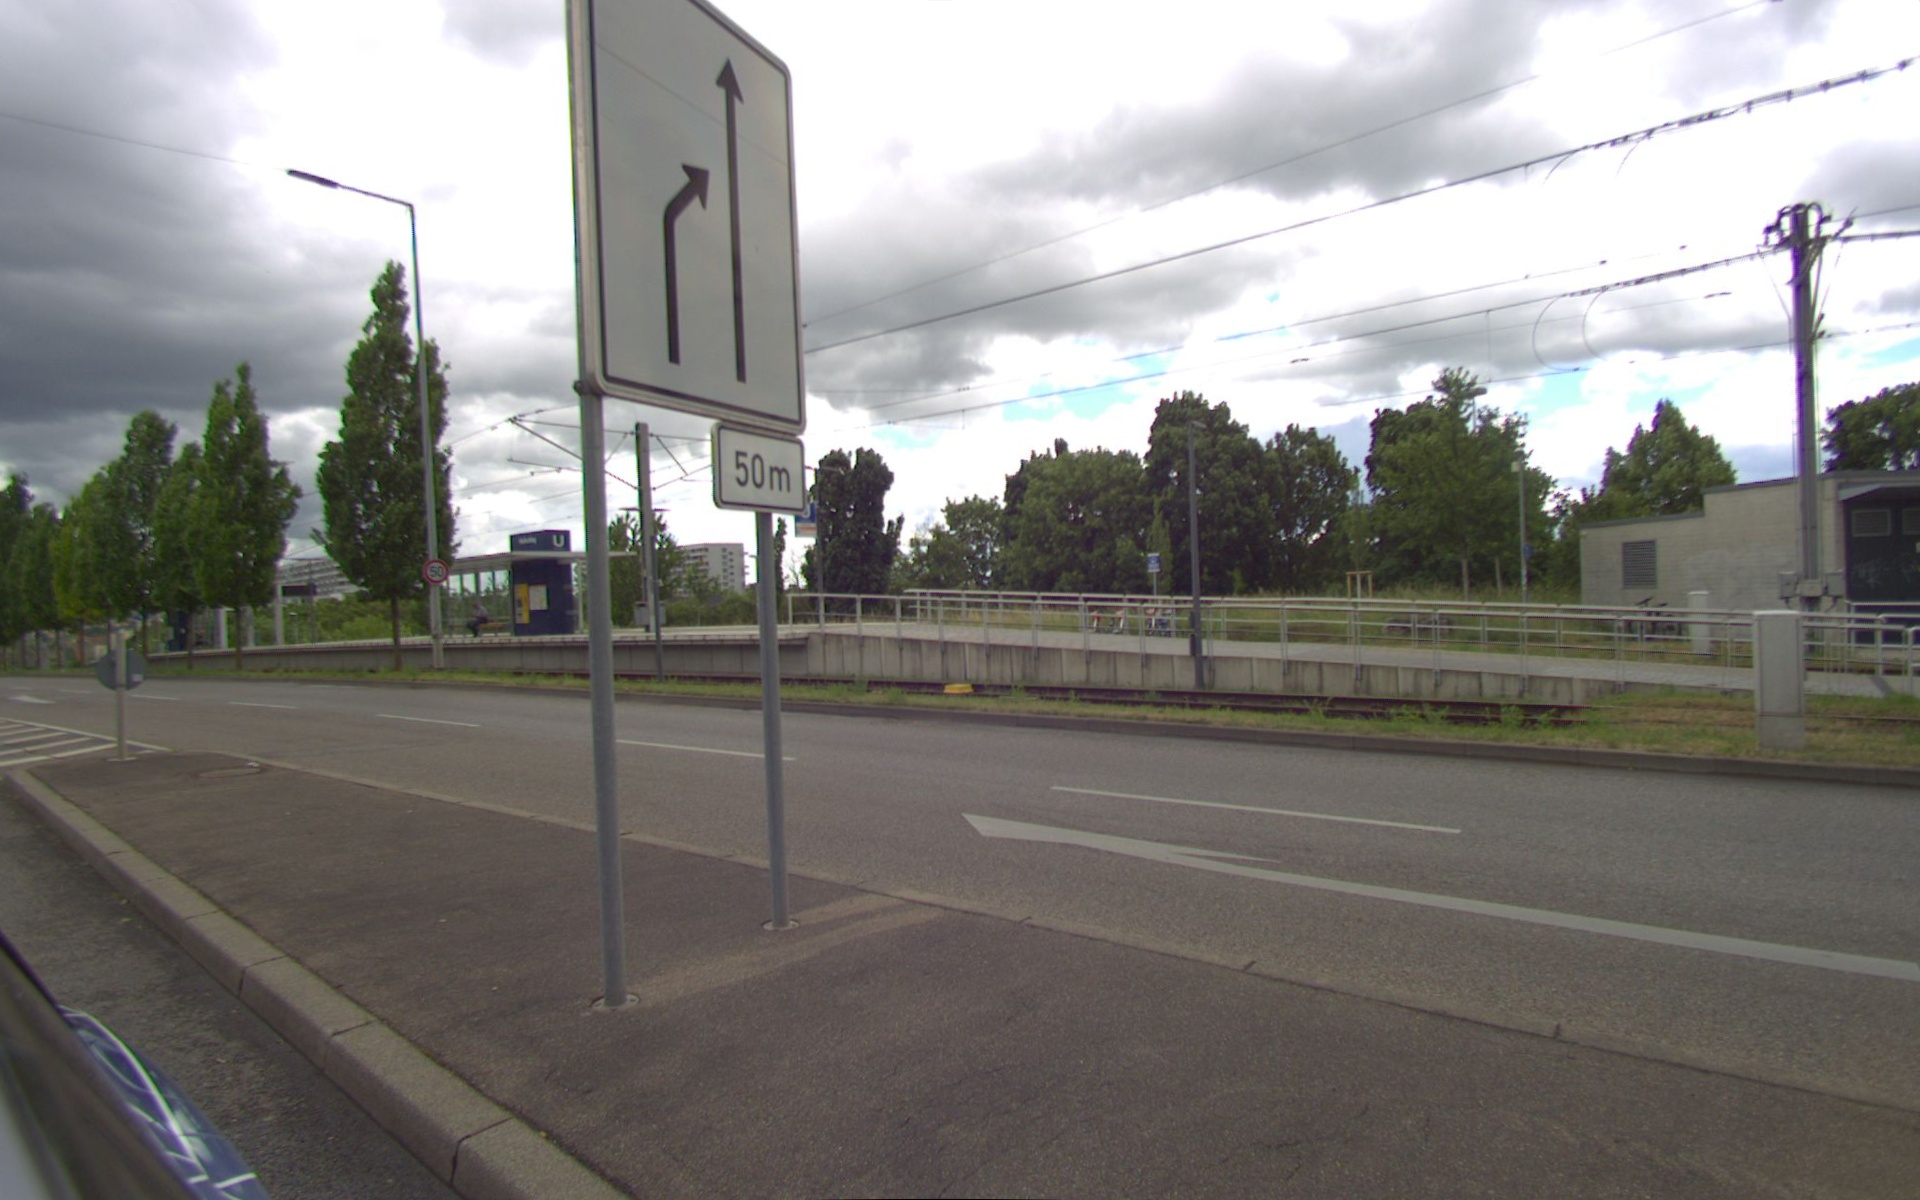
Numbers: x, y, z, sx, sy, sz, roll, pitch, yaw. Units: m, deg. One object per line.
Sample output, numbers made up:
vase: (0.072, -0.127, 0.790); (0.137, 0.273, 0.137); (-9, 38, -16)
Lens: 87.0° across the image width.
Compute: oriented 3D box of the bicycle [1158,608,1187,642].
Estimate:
bicycle: (7.047, 0.822, 33.467); (0.490, 1.095, 1.466); (-2, -1, 30)

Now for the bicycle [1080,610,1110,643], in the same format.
bicycle: (4.684, 0.902, 35.160); (0.490, 1.095, 1.466); (-2, -1, 30)

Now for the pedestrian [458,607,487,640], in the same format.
pedestrian: (-18.249, 0.886, 37.874); (0.781, 1.211, 0.656); (-2, -1, 33)

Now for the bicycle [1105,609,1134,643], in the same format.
bicycle: (5.441, 0.874, 34.458); (0.490, 1.095, 1.466); (-2, -1, 30)

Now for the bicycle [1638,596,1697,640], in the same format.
bicycle: (18.195, 0.464, 26.058); (0.486, 1.095, 1.480); (-1, -1, 3)

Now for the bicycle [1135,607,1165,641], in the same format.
bicycle: (6.381, 0.808, 33.947); (0.490, 1.095, 1.466); (-2, -1, 30)
